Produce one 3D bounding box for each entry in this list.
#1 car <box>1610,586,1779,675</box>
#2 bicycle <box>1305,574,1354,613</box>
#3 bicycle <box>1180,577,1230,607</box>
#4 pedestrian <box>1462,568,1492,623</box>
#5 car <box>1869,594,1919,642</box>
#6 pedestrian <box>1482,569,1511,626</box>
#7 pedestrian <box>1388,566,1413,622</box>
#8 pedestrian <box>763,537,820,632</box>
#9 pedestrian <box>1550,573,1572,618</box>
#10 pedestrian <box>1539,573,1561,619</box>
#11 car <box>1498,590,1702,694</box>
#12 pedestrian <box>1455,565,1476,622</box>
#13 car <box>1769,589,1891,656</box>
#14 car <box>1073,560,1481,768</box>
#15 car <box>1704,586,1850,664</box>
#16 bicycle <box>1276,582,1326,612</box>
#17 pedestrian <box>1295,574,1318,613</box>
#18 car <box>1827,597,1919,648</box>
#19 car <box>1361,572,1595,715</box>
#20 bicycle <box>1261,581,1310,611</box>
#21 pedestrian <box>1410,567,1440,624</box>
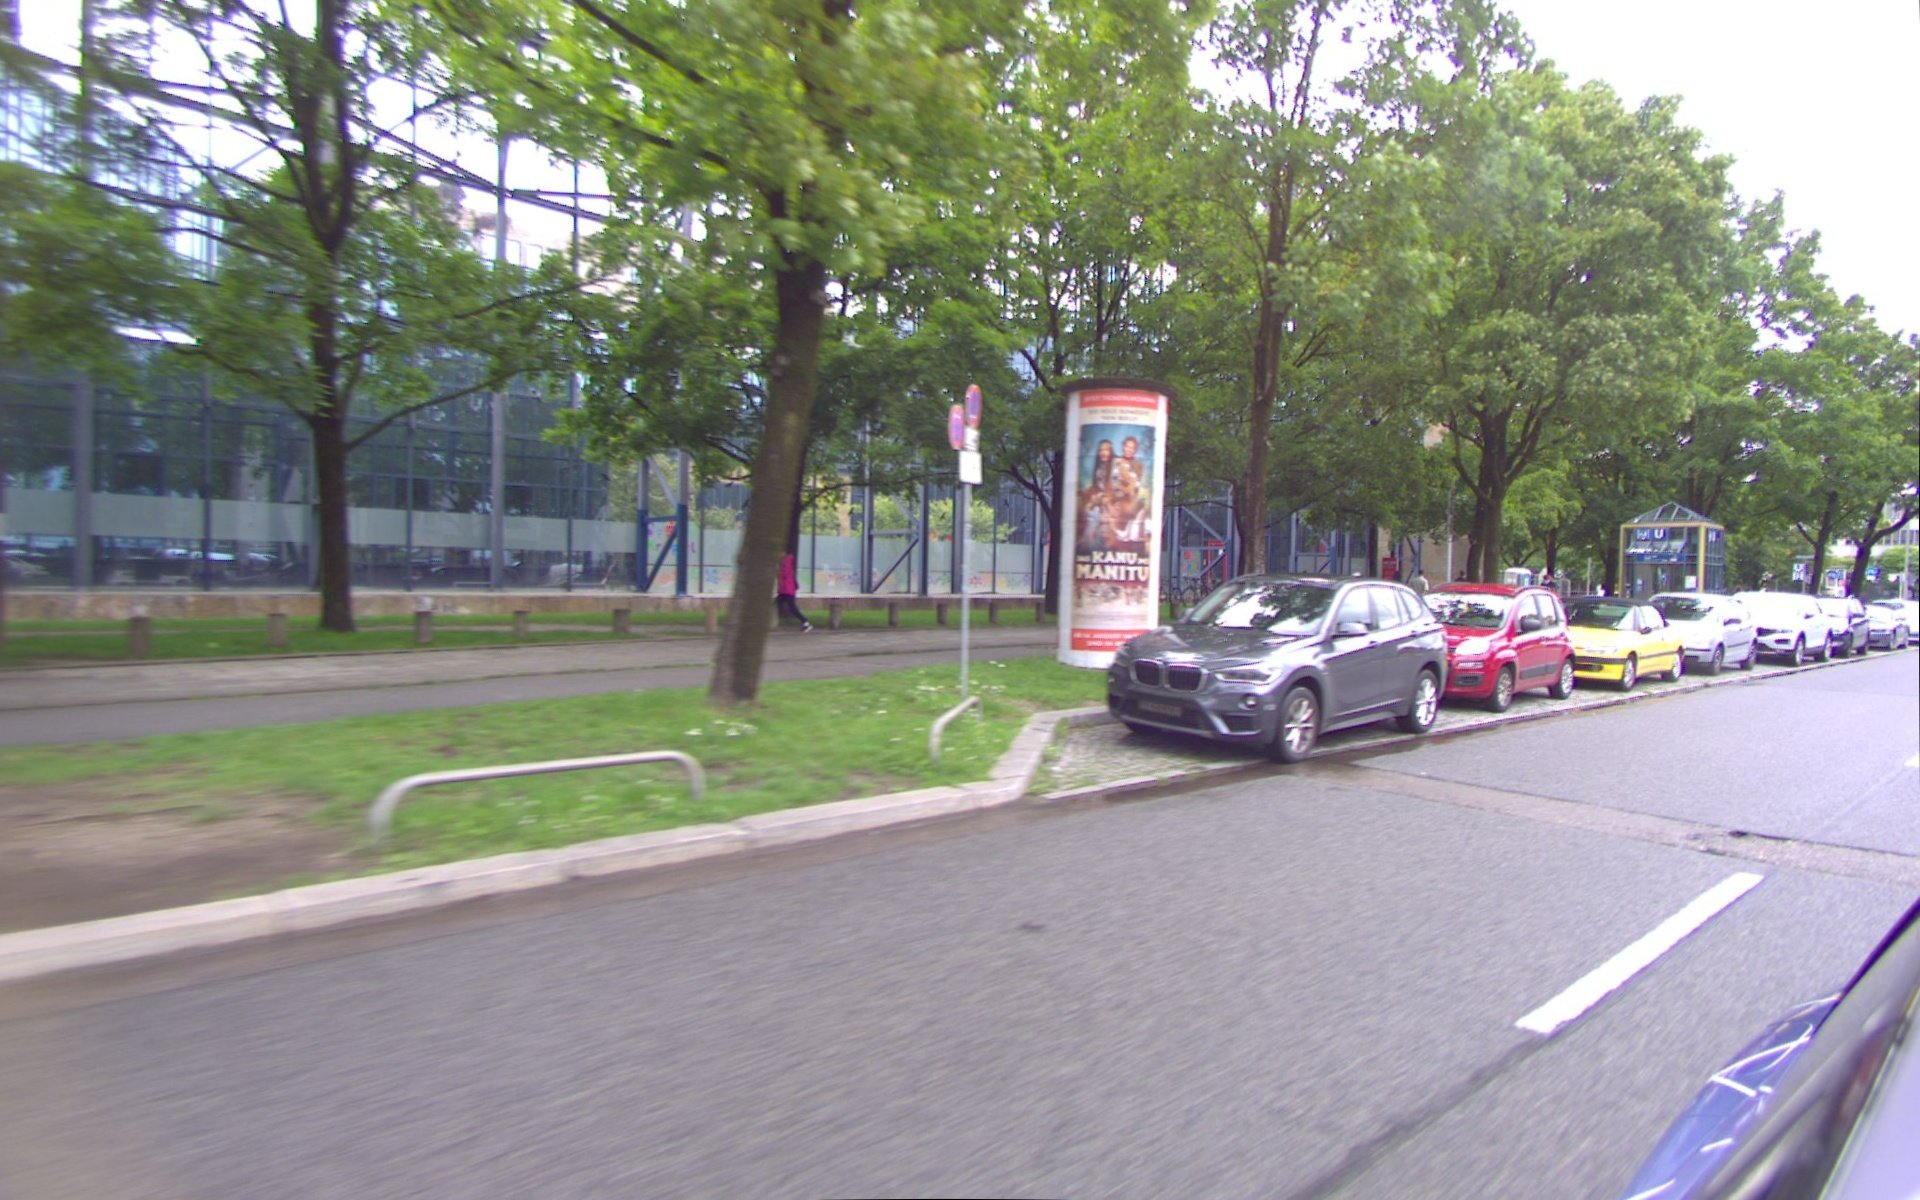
[{"bbox_3d":[14.120,0.521,19.394,3.825,1.493,1.627,0,2,-39],"label":"car"},{"bbox_3d":[11.856,-0.221,32.429,2.104,1.207,0.512,-1,2,-41],"label":"bicycle"},{"bbox_3d":[8.189,-0.267,33.783,2.028,0.952,0.571,-1,2,-41],"label":"bicycle"},{"bbox_3d":[16.441,-0.145,32.206,0.602,1.710,0.612,-1,4,-43],"label":"pedestrian"},{"bbox_3d":[30.809,0.562,32.667,3.667,1.420,1.590,0,2,-39],"label":"car"},{"bbox_3d":[16.831,-0.093,31.748,0.649,1.743,0.527,-1,4,-44],"label":"pedestrian"},{"bbox_3d":[13.494,-0.190,30.999,0.419,1.647,0.506,-1,4,-43],"label":"pedestrian"},{"bbox_3d":[-3.058,-0.279,18.308,0.845,1.665,0.741,1,3,-21],"label":"pedestrian"},{"bbox_3d":[23.636,-0.175,39.820,0.550,1.743,0.527,-1,4,-44],"label":"pedestrian"},{"bbox_3d":[23.015,-0.166,39.468,0.550,1.743,0.527,-1,4,-44],"label":"pedestrian"},{"bbox_3d":[10.348,0.590,16.244,4.121,1.398,1.626,0,2,-41],"label":"car"},{"bbox_3d":[15.526,-0.195,31.056,0.344,1.710,0.432,0,2,-43],"label":"pedestrian"},{"bbox_3d":[22.248,0.536,25.851,3.667,1.524,1.683,0,2,-39],"label":"car"},{"bbox_3d":[3.355,0.480,10.196,4.524,1.610,1.864,0,2,-42],"label":"car"},{"bbox_3d":[18.297,0.510,22.623,4.021,1.550,1.683,0,2,-39],"label":"car"},{"bbox_3d":[11.147,-0.101,33.051,2.104,0.952,0.512,0,2,-41],"label":"bicycle"},{"bbox_3d":[11.066,-0.206,32.355,0.419,1.193,0.507,0,4,-39],"label":"pedestrian"},{"bbox_3d":[26.497,0.608,29.200,3.667,1.333,1.590,0,2,-39],"label":"car"},{"bbox_3d":[6.899,0.483,13.348,3.562,1.593,1.553,0,2,-42],"label":"car"},{"bbox_3d":[10.749,-0.118,33.412,2.104,0.952,0.512,0,2,-41],"label":"bicycle"},{"bbox_3d":[14.022,-0.150,30.513,0.427,1.661,0.612,0,4,-41],"label":"pedestrian"}]
